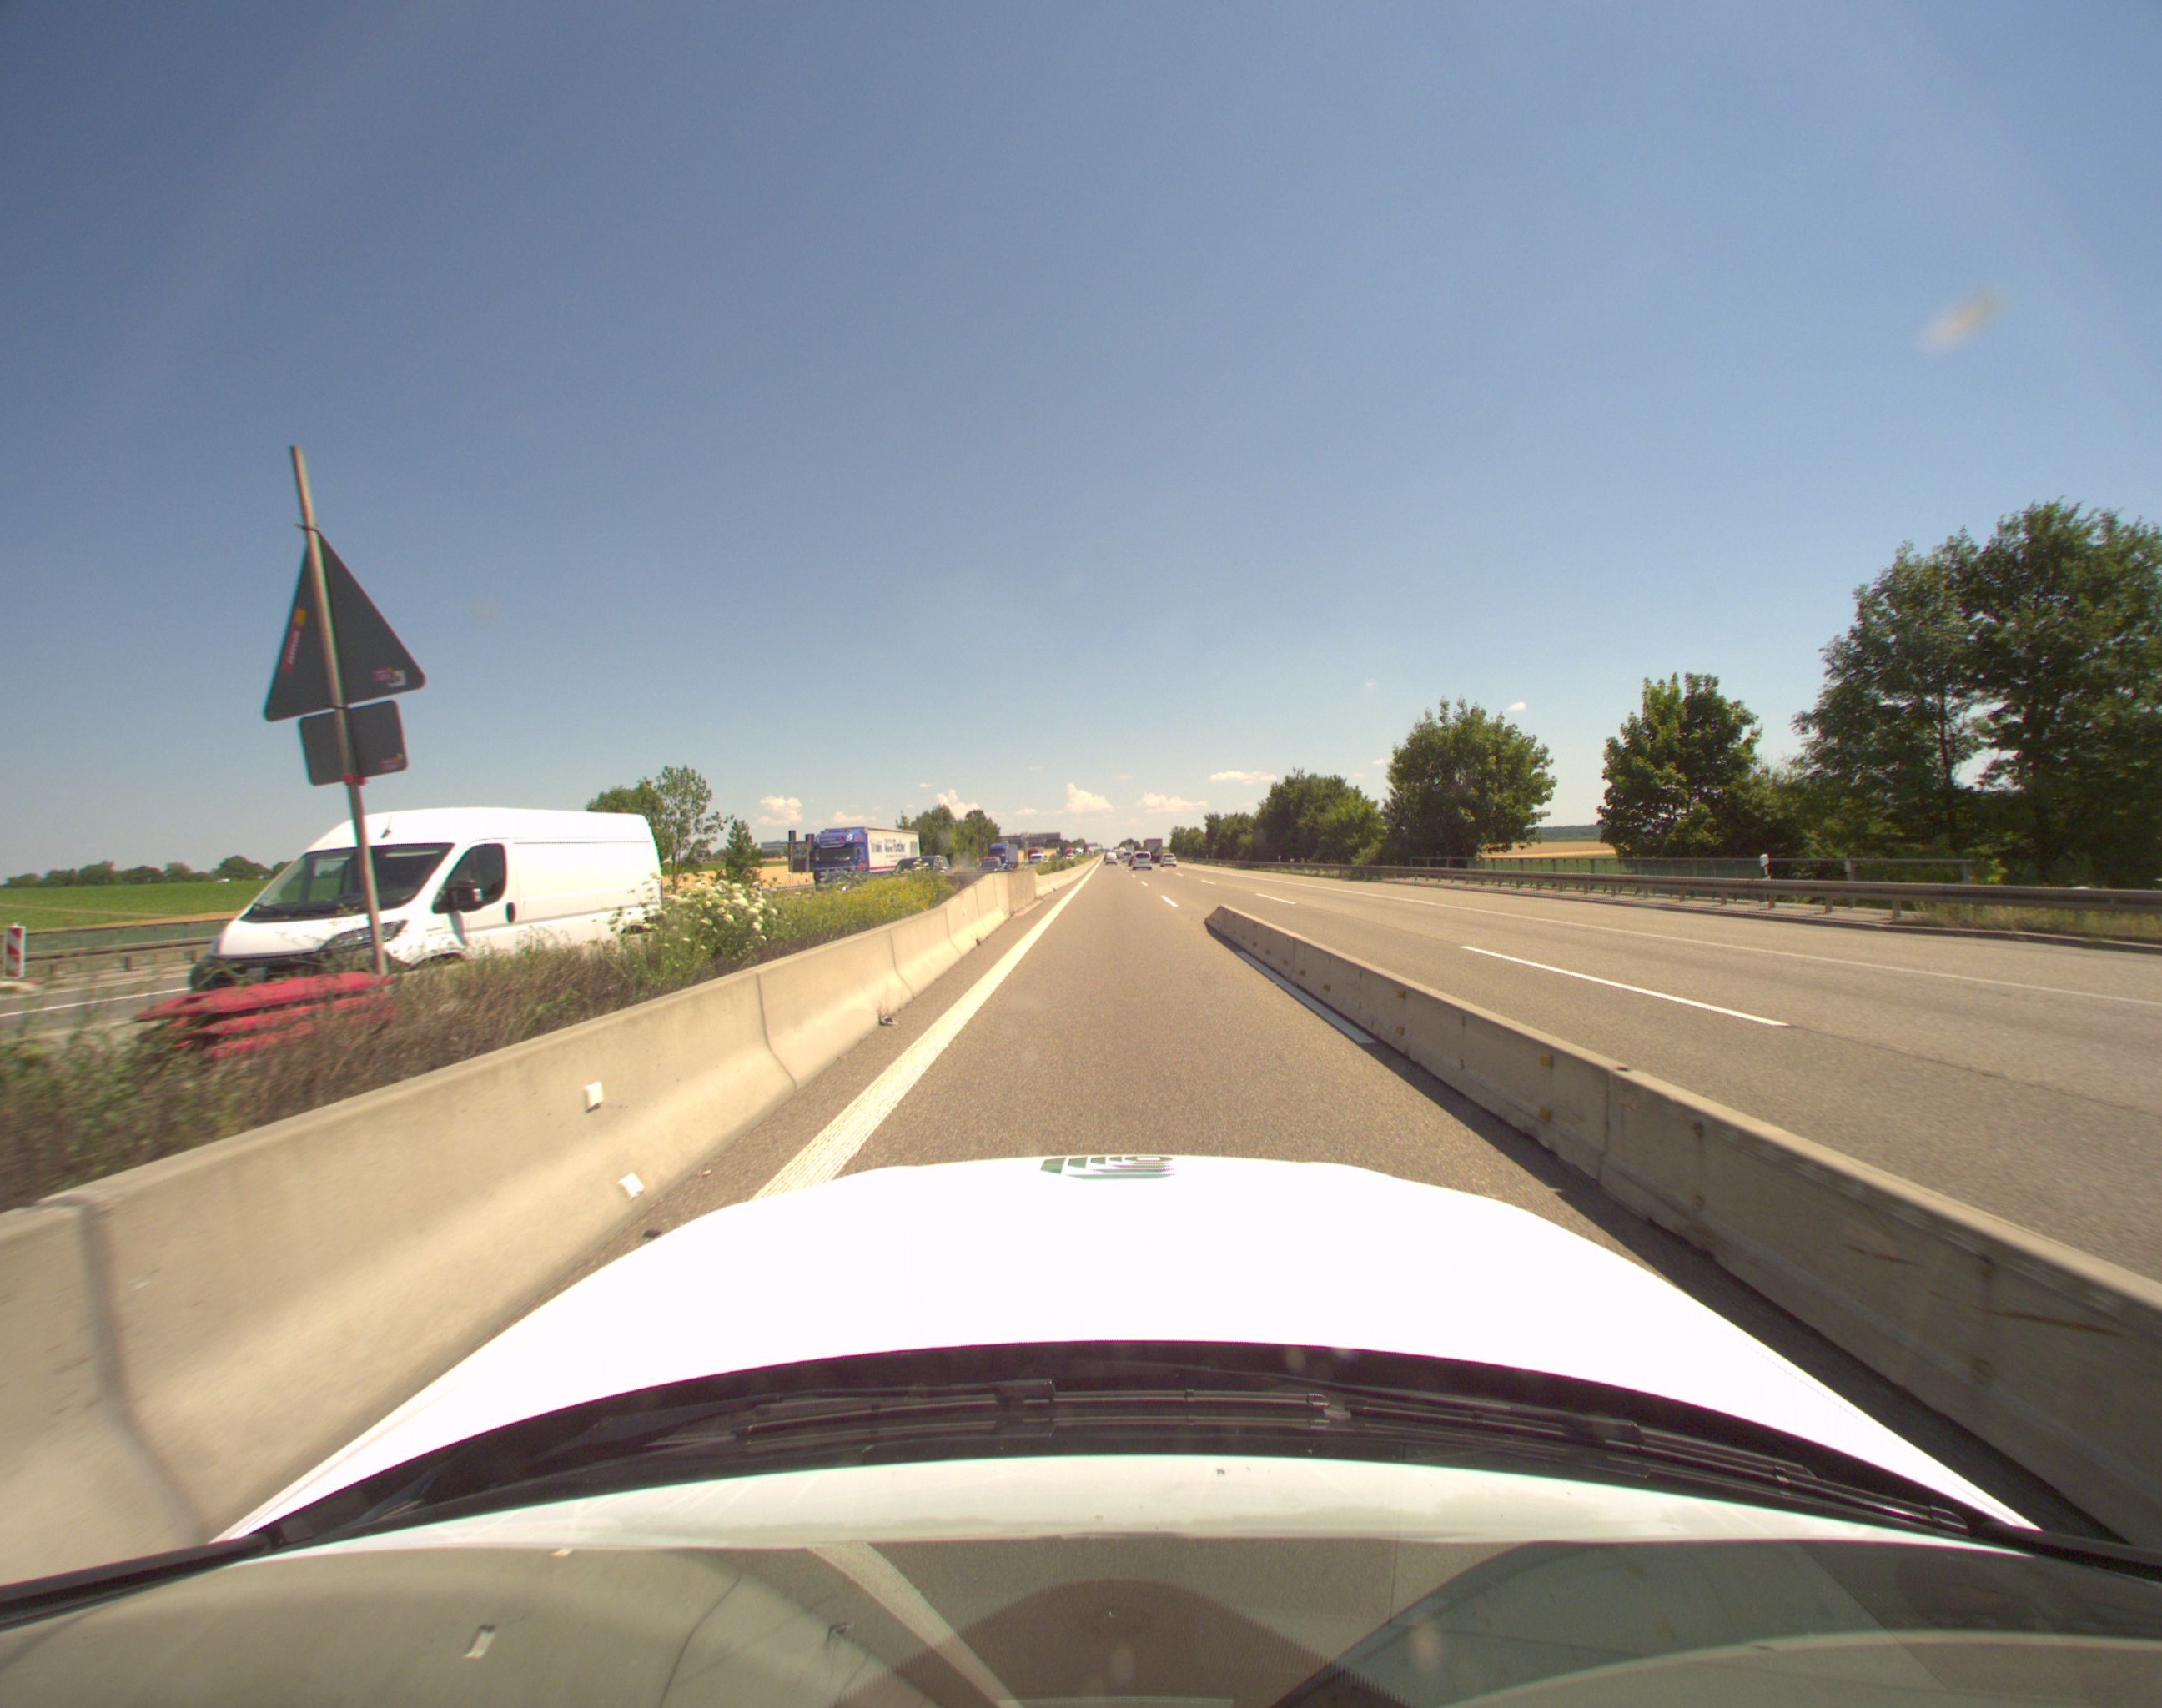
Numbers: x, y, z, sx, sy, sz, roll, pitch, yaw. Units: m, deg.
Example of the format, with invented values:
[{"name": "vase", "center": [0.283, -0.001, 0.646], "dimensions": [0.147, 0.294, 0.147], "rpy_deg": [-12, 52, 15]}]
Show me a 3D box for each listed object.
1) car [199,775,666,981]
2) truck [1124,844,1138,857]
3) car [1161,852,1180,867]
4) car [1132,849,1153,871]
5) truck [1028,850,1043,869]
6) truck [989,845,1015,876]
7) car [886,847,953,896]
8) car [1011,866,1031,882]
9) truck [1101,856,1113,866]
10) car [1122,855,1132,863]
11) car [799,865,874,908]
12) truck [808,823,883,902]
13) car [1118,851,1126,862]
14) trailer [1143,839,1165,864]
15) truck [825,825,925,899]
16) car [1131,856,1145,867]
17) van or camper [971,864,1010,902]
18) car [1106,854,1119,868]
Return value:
[{"name": "car", "center": [-7.624, 0.257, 10.428], "dimensions": [1.986, 1.946, 4.796], "rpy_deg": [-3, -1, 1]}, {"name": "truck", "center": [16.093, -0.971, 262.404], "dimensions": [3.802, 3.905, 9.583], "rpy_deg": [-2, 0, 1]}, {"name": "car", "center": [10.983, 0.741, 100.659], "dimensions": [1.986, 1.794, 4.001], "rpy_deg": [-2, -1, 2]}, {"name": "car", "center": [6.425, 0.648, 85.714], "dimensions": [1.986, 2.120, 4.001], "rpy_deg": [-2, -1, 2]}, {"name": "truck", "center": [-9.958, 1.180, 178.895], "dimensions": [2.846, 3.855, 4.001], "rpy_deg": [-3, 0, 1]}, {"name": "truck", "center": [-11.495, 0.912, 118.942], "dimensions": [2.854, 4.350, 5.588], "rpy_deg": [-3, 0, 2]}, {"name": "car", "center": [-6.938, 0.733, 35.498], "dimensions": [1.807, 1.946, 4.616], "rpy_deg": [-3, -1, 1]}, {"name": "car", "center": [-6.226, 2.054, 84.867], "dimensions": [1.678, 1.566, 4.563], "rpy_deg": [-3, 0, 1]}, {"name": "truck", "center": [5.308, 1.430, 166.458], "dimensions": [2.204, 2.013, 4.972], "rpy_deg": [-2, 0, 1]}, {"name": "car", "center": [8.394, 0.876, 149.508], "dimensions": [1.767, 1.447, 4.001], "rpy_deg": [-2, -1, 2]}, {"name": "car", "center": [-10.487, 1.357, 35.289], "dimensions": [1.882, 1.654, 4.095], "rpy_deg": [-3, 0, 1]}, {"name": "truck", "center": [-13.868, 0.501, 48.312], "dimensions": [2.583, 4.238, 4.856], "rpy_deg": [-5, -1, 1]}, {"name": "car", "center": [9.960, 0.606, 199.772], "dimensions": [1.767, 2.392, 4.001], "rpy_deg": [-2, -1, 2]}, {"name": "trailer", "center": [12.335, -0.316, 138.320], "dimensions": [3.265, 3.967, 9.115], "rpy_deg": [-2, -1, 2]}, {"name": "truck", "center": [-13.670, 0.543, 55.767], "dimensions": [2.583, 4.238, 14.127], "rpy_deg": [-5, -1, 2]}, {"name": "car", "center": [7.788, 1.007, 112.271], "dimensions": [1.767, 1.447, 4.001], "rpy_deg": [-2, -1, 2]}, {"name": "van or camper", "center": [-6.644, 2.094, 60.273], "dimensions": [2.140, 2.628, 4.398], "rpy_deg": [-3, -1, 1]}, {"name": "car", "center": [4.943, 1.095, 126.968], "dimensions": [1.986, 2.014, 4.001], "rpy_deg": [-2, -1, 2]}]
